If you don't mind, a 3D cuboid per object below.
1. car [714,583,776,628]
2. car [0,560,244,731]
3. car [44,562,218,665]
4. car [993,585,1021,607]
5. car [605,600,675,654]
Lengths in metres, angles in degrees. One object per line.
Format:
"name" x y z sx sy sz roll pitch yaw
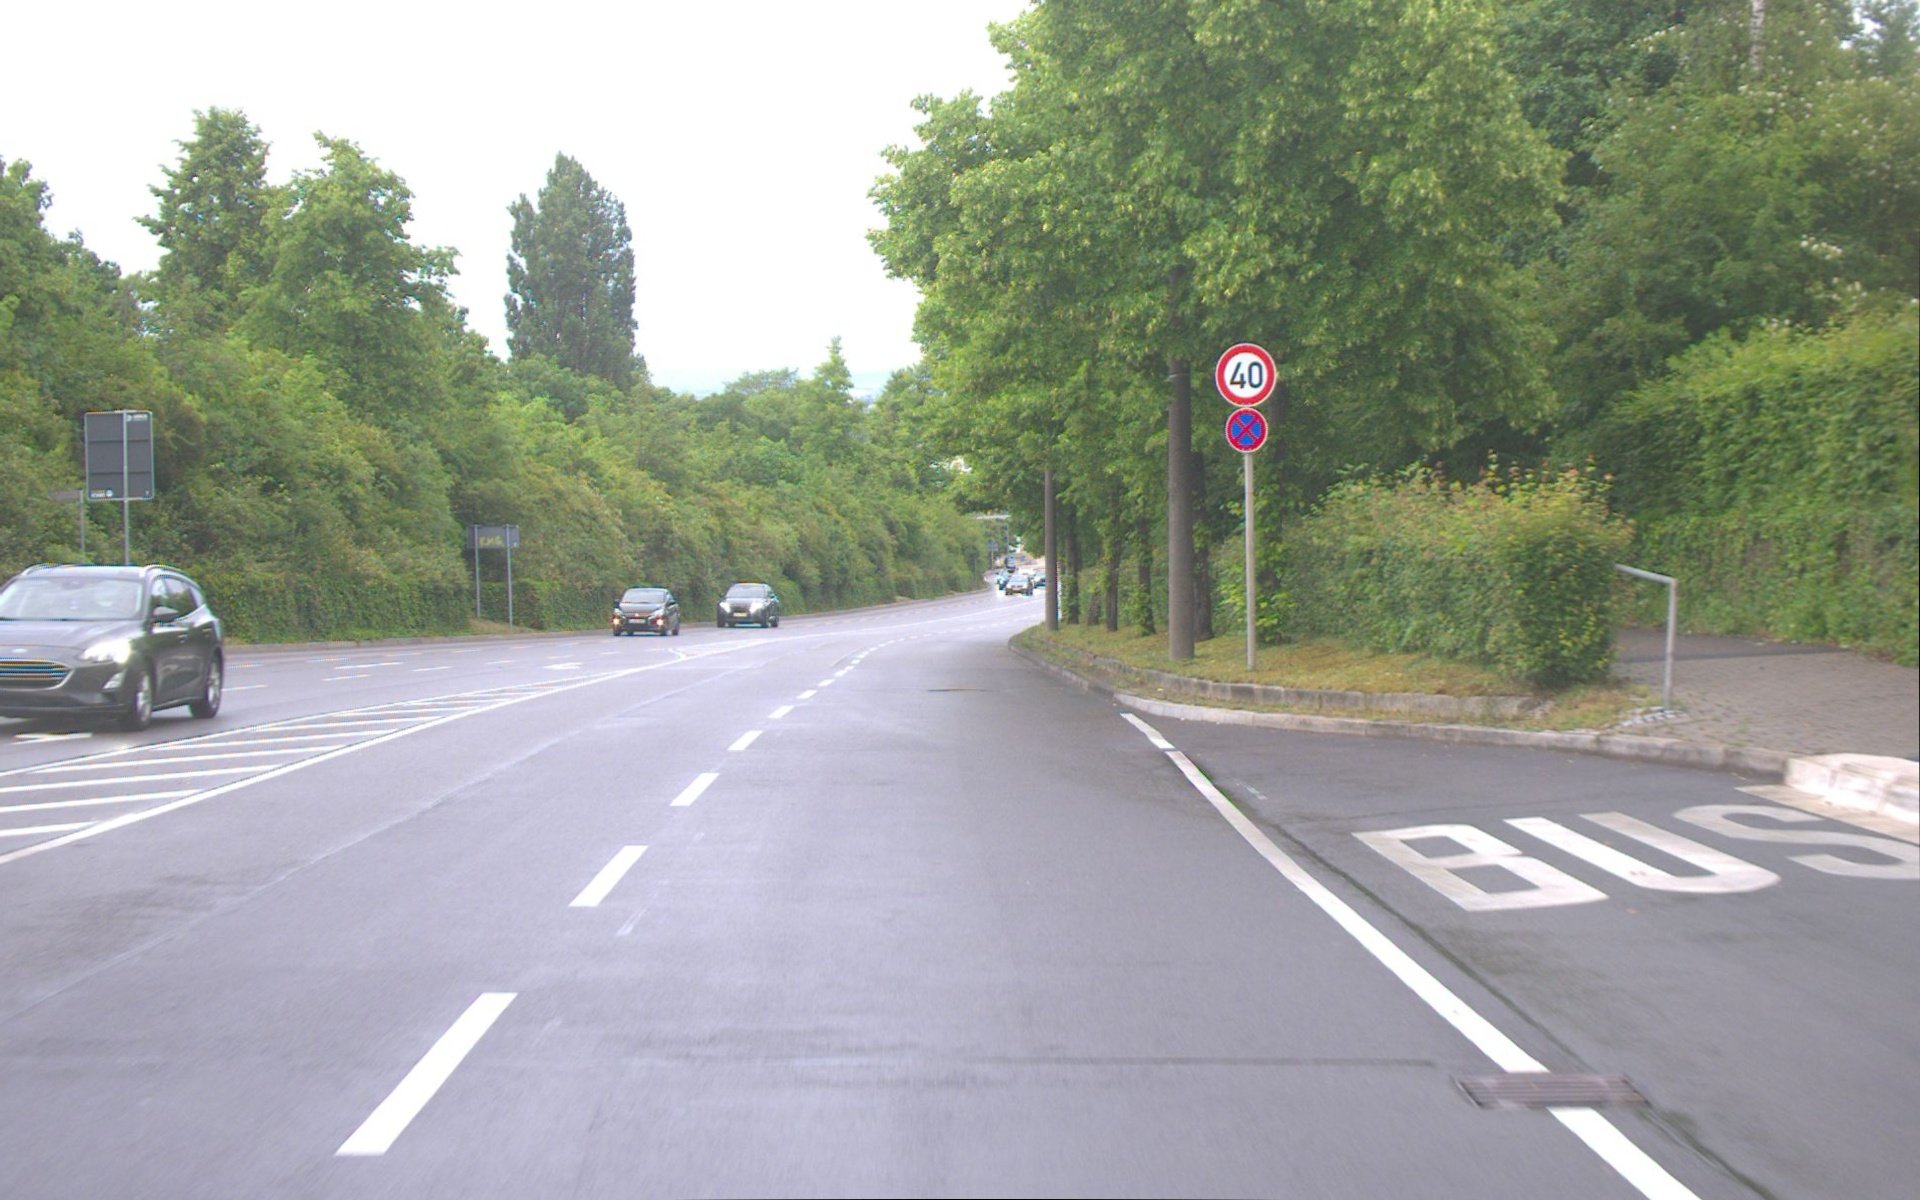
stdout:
"car" -7.947 0.212 127.267 1.864 1.584 3.892 2 0 2
"car" -8.011 0.370 31.762 1.778 1.467 4.645 0 0 0
"car" -13.323 0.189 55.470 1.724 1.585 4.000 0 1 2
"car" 3.364 -0.274 244.322 1.864 1.459 3.892 2 0 2
"car" -9.832 0.811 105.897 1.725 1.560 3.893 2 0 0
